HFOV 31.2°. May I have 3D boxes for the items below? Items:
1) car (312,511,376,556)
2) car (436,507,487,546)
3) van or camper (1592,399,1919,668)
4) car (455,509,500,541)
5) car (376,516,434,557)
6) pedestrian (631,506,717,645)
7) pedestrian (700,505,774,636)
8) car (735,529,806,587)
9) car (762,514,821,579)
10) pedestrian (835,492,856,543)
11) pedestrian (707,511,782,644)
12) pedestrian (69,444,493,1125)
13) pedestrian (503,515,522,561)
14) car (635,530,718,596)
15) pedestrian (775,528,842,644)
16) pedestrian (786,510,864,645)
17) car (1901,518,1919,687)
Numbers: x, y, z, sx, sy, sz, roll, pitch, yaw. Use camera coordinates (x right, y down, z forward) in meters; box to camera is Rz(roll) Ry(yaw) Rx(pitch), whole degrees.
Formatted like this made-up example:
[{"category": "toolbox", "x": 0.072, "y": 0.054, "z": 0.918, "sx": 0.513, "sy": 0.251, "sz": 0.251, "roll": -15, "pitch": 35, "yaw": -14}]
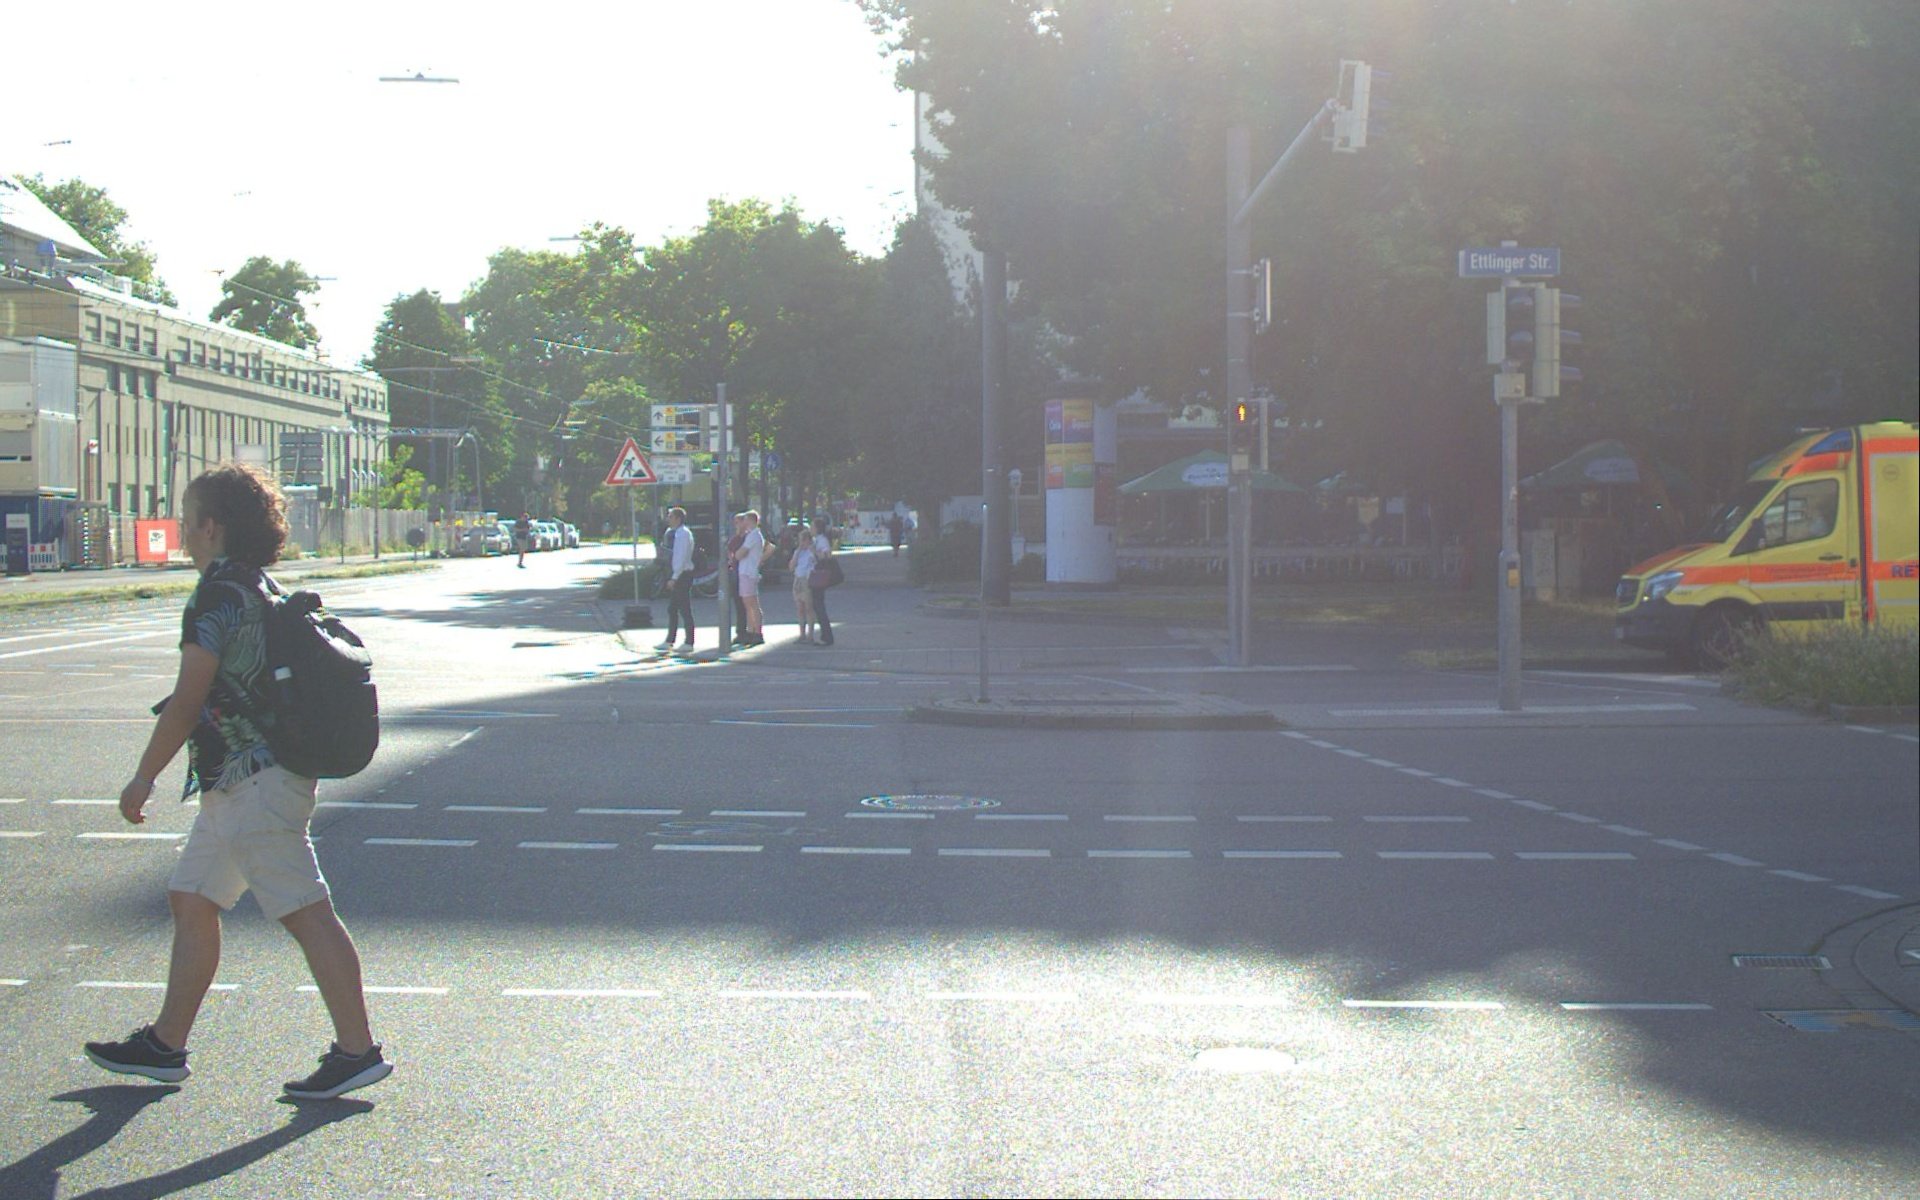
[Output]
[{"category": "car", "x": -23.909, "y": -2.569, "z": 133.441, "sx": 1.819, "sy": 1.706, "sz": 3.806, "roll": 0, "pitch": 1, "yaw": -1}, {"category": "car", "x": -22.592, "y": -3.325, "z": 155.931, "sx": 1.819, "sy": 1.706, "sz": 3.806, "roll": 0, "pitch": 1, "yaw": -1}, {"category": "van or camper", "x": 10.690, "y": -0.687, "z": 38.647, "sx": 6.709, "sy": 2.852, "sz": 2.910, "roll": 1, "pitch": 0, "yaw": 4}, {"category": "car", "x": -22.458, "y": -3.493, "z": 160.176, "sx": 1.609, "sy": 1.493, "sz": 3.806, "roll": 0, "pitch": 1, "yaw": -1}, {"category": "car", "x": -23.293, "y": -2.675, "z": 144.340, "sx": 1.819, "sy": 1.706, "sz": 3.806, "roll": 0, "pitch": 1, "yaw": -1}, {"category": "pedestrian", "x": -3.736, "y": -0.327, "z": 44.919, "sx": 0.965, "sy": 1.778, "sz": 0.780, "roll": -1, "pitch": 1, "yaw": -16}, {"category": "pedestrian", "x": -3.069, "y": -0.409, "z": 47.214, "sx": 0.847, "sy": 1.778, "sz": 0.780, "roll": -1, "pitch": 1, "yaw": -16}, {"category": "car", "x": -5.052, "y": -1.109, "z": 91.994, "sx": 1.684, "sy": 1.495, "sz": 3.509, "roll": 1, "pitch": 0, "yaw": -1}, {"category": "car", "x": -5.265, "y": -1.664, "z": 107.606, "sx": 1.684, "sy": 1.955, "sz": 3.509, "roll": 1, "pitch": 0, "yaw": -1}, {"category": "pedestrian", "x": -8.169, "y": -5.924, "z": 245.806, "sx": 1.401, "sy": 3.584, "sz": 1.568, "roll": 1, "pitch": 0, "yaw": -1}, {"category": "pedestrian", "x": -2.912, "y": -0.309, "z": 46.422, "sx": 0.847, "sy": 1.778, "sz": 0.780, "roll": -1, "pitch": 1, "yaw": -16}, {"category": "pedestrian", "x": -1.827, "y": 0.452, "z": 9.265, "sx": 1.039, "sy": 1.715, "sz": 1.035, "roll": -1, "pitch": 1, "yaw": -12}, {"category": "pedestrian", "x": -14.567, "y": -2.003, "z": 111.919, "sx": 0.524, "sy": 1.479, "sz": 0.437, "roll": 1, "pitch": 0, "yaw": -1}, {"category": "car", "x": -6.730, "y": -0.868, "z": 81.836, "sx": 1.684, "sy": 1.495, "sz": 3.509, "roll": 1, "pitch": 0, "yaw": -1}, {"category": "pedestrian", "x": -2.051, "y": -0.189, "z": 46.530, "sx": 0.762, "sy": 1.553, "sz": 0.588, "roll": -1, "pitch": 1, "yaw": -16}, {"category": "pedestrian", "x": -1.796, "y": -0.306, "z": 45.701, "sx": 0.847, "sy": 1.778, "sz": 0.780, "roll": -1, "pitch": 1, "yaw": -16}, {"category": "car", "x": 11.452, "y": 0.078, "z": 32.933, "sx": 4.314, "sy": 1.641, "sz": 1.888, "roll": 1, "pitch": 0, "yaw": 0}]
